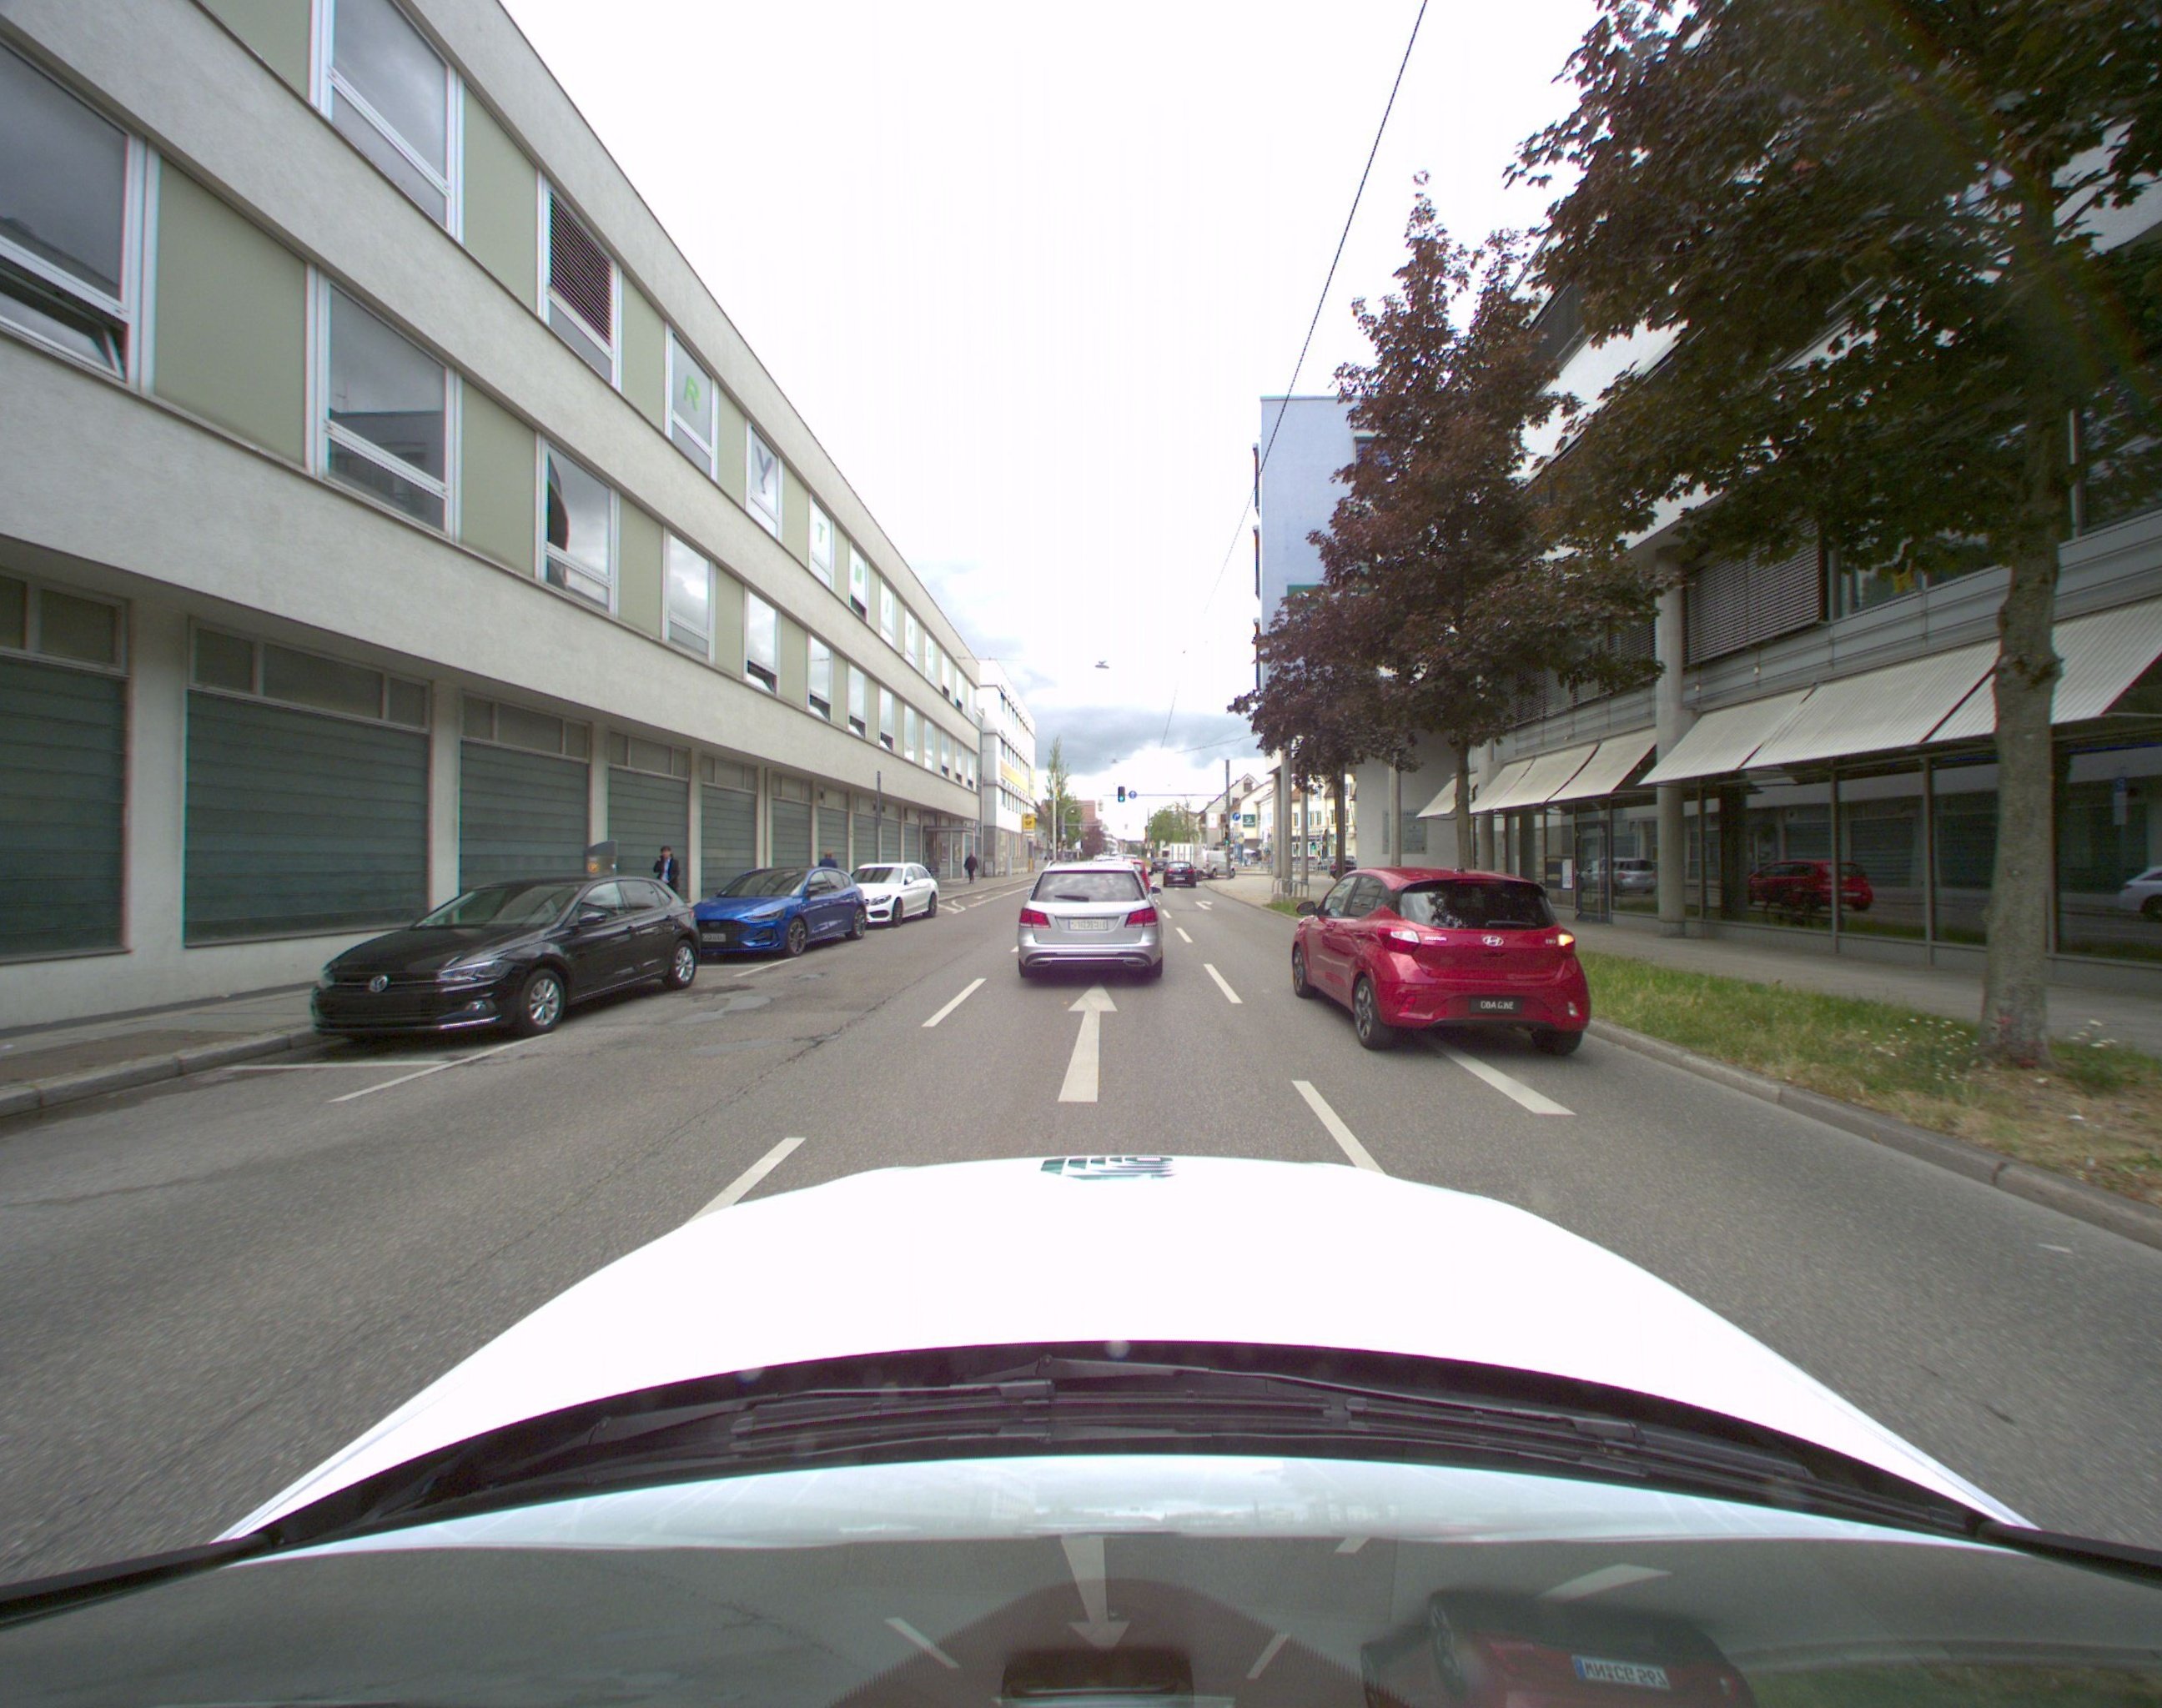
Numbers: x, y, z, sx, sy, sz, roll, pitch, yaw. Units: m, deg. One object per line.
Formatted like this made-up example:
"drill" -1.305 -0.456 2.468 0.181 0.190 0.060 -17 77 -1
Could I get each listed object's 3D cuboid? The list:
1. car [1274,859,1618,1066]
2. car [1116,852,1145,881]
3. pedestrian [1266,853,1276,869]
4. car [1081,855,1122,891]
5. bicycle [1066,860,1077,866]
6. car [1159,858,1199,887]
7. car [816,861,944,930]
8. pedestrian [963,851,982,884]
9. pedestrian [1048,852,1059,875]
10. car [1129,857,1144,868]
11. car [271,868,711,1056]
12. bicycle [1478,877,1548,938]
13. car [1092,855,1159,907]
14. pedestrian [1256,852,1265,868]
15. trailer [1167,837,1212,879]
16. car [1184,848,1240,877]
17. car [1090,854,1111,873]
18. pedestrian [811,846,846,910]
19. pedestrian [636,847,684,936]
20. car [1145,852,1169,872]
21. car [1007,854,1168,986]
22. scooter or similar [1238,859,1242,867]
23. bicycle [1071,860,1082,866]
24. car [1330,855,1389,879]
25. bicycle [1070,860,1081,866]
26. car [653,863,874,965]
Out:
"car" 3.169 0.813 8.019 1.692 1.452 4.002 2 0 2
"car" 3.103 0.785 51.667 1.728 1.759 4.001 -1 0 1
"pedestrian" 20.776 0.719 89.062 0.790 1.718 0.645 1 0 -24
"car" 0.916 0.809 36.417 1.728 1.508 4.001 -1 0 1
"bicycle" -1.606 1.554 142.159 1.935 1.029 0.529 1 -1 -7
"car" 5.221 0.954 43.796 1.728 1.410 4.001 -1 0 1
"car" -4.810 0.931 20.193 1.662 1.434 4.559 -2 0 5
"pedestrian" -5.865 0.724 44.099 0.858 1.718 1.032 1 0 1
"pedestrian" -2.098 0.750 62.124 0.643 1.718 0.785 1 0 10
"car" 7.275 1.087 106.286 1.728 1.410 4.001 -1 0 1
"car" -5.687 0.911 8.562 1.710 1.425 3.871 -2 0 1
"bicycle" 8.552 1.026 16.202 0.359 1.086 2.028 1 0 1
"car" 1.485 0.811 25.801 1.724 1.508 4.010 -1 0 9
"pedestrian" 19.774 0.683 89.481 0.707 1.718 0.643 0 -1 -36
"trailer" 7.262 0.281 54.149 1.861 2.613 4.346 2 0 23
"car" 9.439 0.634 58.211 1.860 1.945 4.937 2 0 36
"car" 1.810 0.838 74.480 1.768 1.632 4.773 -1 0 4
"pedestrian" -6.983 0.650 22.558 0.587 1.718 1.055 -1 0 1
"pedestrian" -8.287 0.729 16.041 0.587 1.718 0.650 -1 0 1
"car" 6.759 0.707 72.621 1.821 1.785 4.001 0 0 2
"car" 0.123 0.765 11.447 1.839 1.508 4.172 -1 0 1
"scooter or similar" 21.799 1.227 111.683 0.270 1.001 1.029 0 0 0
"bicycle" -0.827 1.578 144.477 1.935 1.029 0.529 1 -1 -7
"car" 20.291 0.932 59.437 3.769 1.670 1.931 -1 0 4
"bicycle" -0.974 1.582 145.460 1.935 1.029 0.529 1 -1 -7
"car" -5.285 0.917 14.274 1.806 1.426 4.271 -2 0 6
